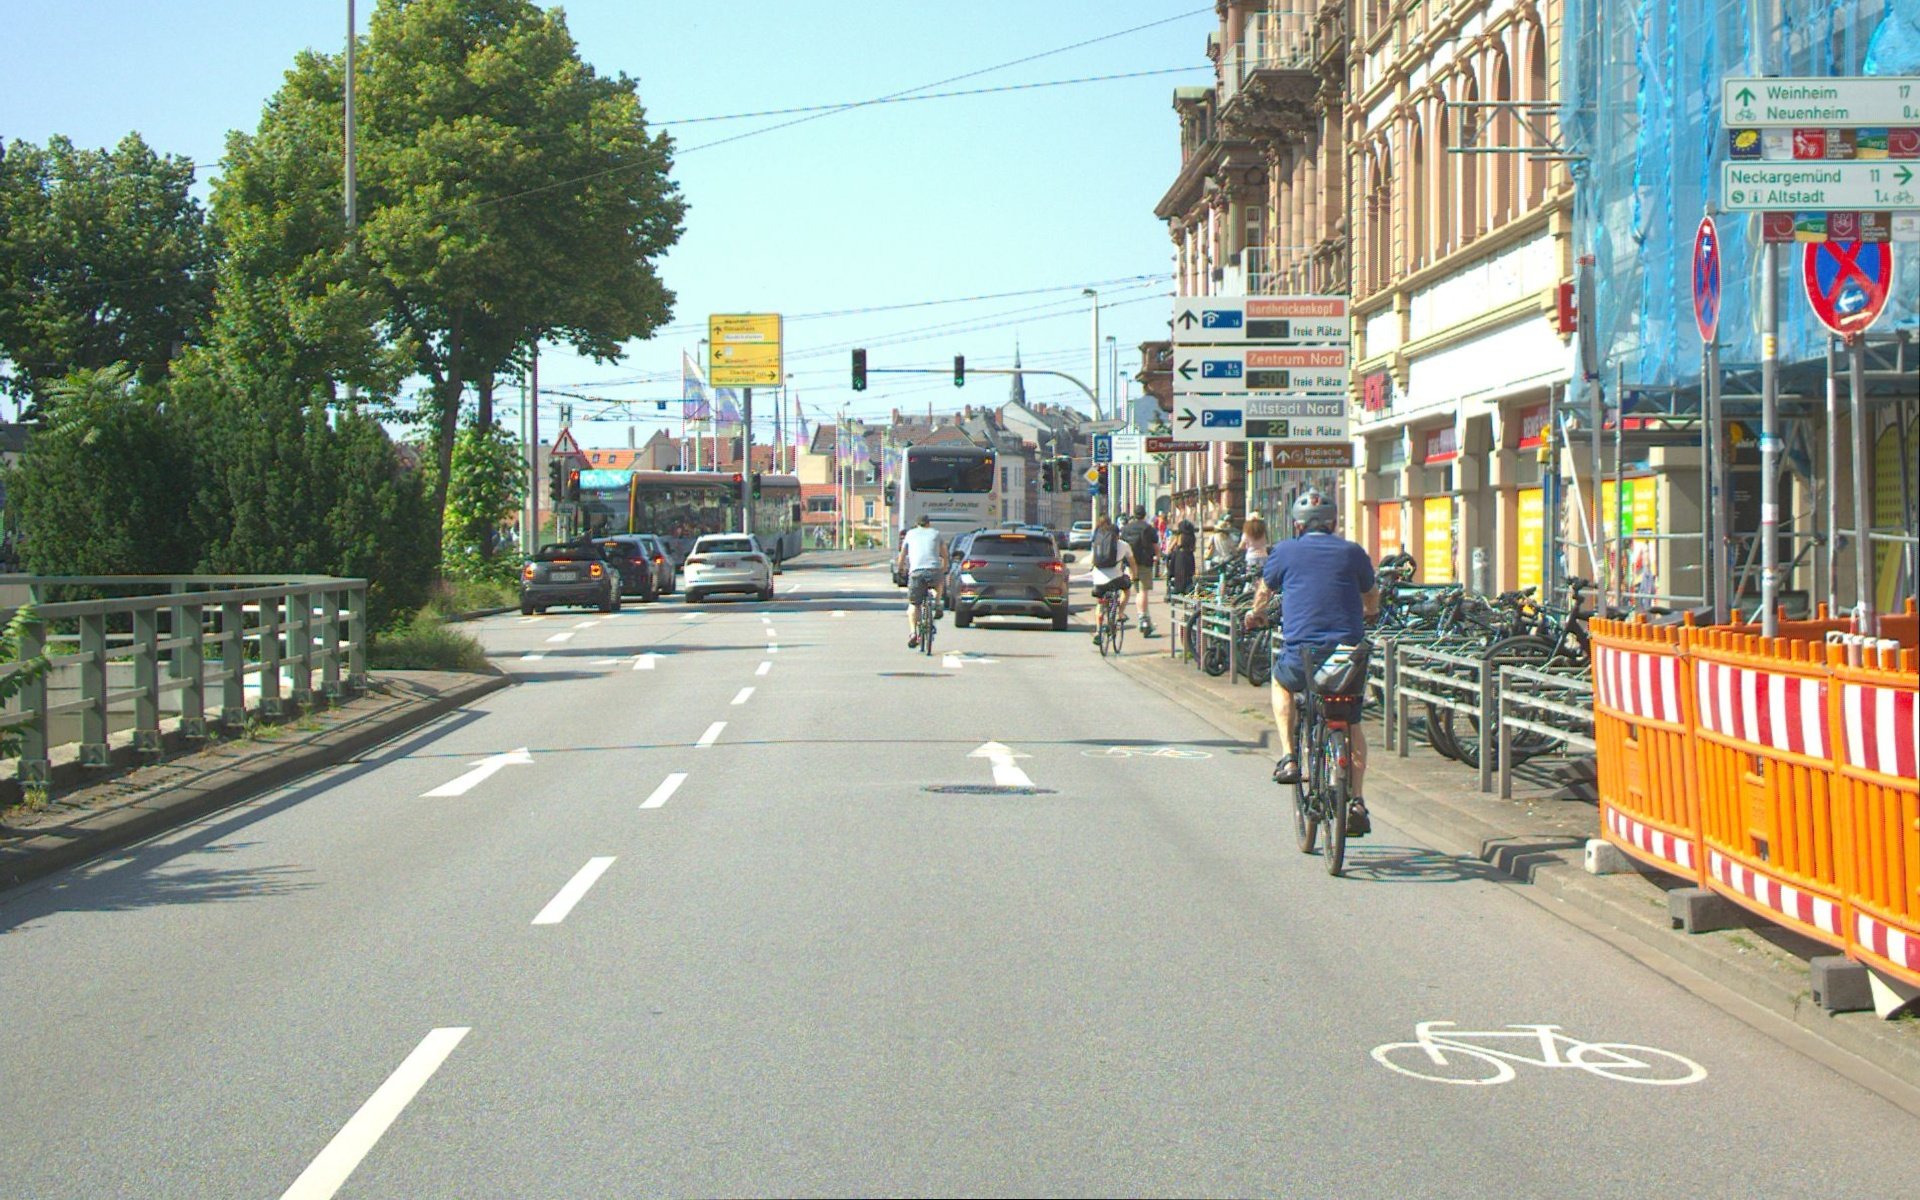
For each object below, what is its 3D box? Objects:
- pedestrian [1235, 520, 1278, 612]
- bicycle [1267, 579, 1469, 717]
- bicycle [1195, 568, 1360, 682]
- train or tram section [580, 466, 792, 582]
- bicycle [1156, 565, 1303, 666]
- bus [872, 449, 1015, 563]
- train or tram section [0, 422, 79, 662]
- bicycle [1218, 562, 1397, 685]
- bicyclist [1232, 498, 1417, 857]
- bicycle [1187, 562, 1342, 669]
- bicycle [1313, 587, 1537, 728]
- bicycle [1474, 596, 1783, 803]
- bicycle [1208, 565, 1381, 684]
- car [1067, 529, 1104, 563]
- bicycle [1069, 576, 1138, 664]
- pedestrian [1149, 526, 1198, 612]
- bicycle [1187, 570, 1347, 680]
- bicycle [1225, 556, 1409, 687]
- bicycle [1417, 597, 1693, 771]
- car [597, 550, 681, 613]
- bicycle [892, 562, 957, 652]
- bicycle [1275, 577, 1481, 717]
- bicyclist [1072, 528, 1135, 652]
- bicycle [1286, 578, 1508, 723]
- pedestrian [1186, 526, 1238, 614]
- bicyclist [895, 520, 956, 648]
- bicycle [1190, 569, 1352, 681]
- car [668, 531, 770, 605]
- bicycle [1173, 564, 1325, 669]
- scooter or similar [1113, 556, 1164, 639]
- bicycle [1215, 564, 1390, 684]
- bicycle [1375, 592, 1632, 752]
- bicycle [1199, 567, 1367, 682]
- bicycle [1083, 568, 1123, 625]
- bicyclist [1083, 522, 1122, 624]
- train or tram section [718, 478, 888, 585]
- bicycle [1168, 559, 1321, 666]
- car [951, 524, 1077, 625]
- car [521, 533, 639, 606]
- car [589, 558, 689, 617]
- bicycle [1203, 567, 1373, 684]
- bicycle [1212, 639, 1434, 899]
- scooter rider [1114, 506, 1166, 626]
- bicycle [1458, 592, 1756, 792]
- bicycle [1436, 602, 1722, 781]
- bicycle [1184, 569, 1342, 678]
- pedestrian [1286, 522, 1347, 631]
[{"bbox_3d":[5.247,-0.606,60.889,0.654,1.615,0.815,-1,1,-2],"label":"pedestrian"},{"bbox_3d":[3.615,0.417,30.512,1.693,1.174,0.608,1,0,0],"label":"bicycle"},{"bbox_3d":[3.389,0.263,36.781,1.693,1.174,0.514,1,0,0],"label":"bicycle"},{"bbox_3d":[-9.091,-2.480,115.711,2.826,3.569,10.020,2,0,22],"label":"train or tram section"},{"bbox_3d":[3.201,0.175,40.921,1.693,1.174,0.608,0,1,0],"label":"bicycle"},{"bbox_3d":[-0.511,-2.361,88.263,2.968,2.767,8.643,0,1,-5],"label":"bus"},{"bbox_3d":[-15.621,-0.904,52.474,2.613,3.569,6.898,2,0,-1],"label":"train or tram section"},{"bbox_3d":[3.436,0.230,34.043,1.693,1.174,0.497,1,0,0],"label":"bicycle"},{"bbox_3d":[1.698,0.350,16.126,0.688,1.611,0.918,2,0,-2],"label":"bicyclist"},{"bbox_3d":[3.457,0.171,39.040,1.693,1.174,0.470,1,0,-1],"label":"bicycle"},{"bbox_3d":[3.723,0.458,27.589,1.693,1.083,0.608,1,0,0],"label":"bicycle"},{"bbox_3d":[3.968,0.584,20.468,1.693,1.174,0.608,1,0,0],"label":"bicycle"},{"bbox_3d":[3.414,0.252,35.147,1.693,1.174,0.451,1,0,0],"label":"bicycle"},{"bbox_3d":[7.074,-3.048,194.691,1.993,1.871,4.000,-1,1,1],"label":"car"},{"bbox_3d":[1.859,0.244,44.716,0.734,1.089,1.898,2,0,-2],"label":"bicycle"},{"bbox_3d":[4.131,-0.604,66.560,0.862,1.634,0.876,0,1,-2],"label":"pedestrian"},{"bbox_3d":[3.381,0.270,37.875,1.693,1.174,0.460,1,0,0],"label":"bicycle"},{"bbox_3d":[3.459,0.205,33.402,1.693,1.237,0.608,1,0,0],"label":"bicycle"},{"bbox_3d":[3.919,0.546,22.715,1.693,1.093,0.608,1,0,0],"label":"bicycle"},{"bbox_3d":[-7.115,-0.416,76.441,1.451,1.296,4.000,2,0,0],"label":"car"},{"bbox_3d":[-0.456,0.079,43.485,0.734,1.089,1.898,2,0,-2],"label":"bicycle"},{"bbox_3d":[3.619,0.402,29.837,1.693,1.174,0.608,1,0,0],"label":"bicycle"},{"bbox_3d":[1.865,-0.137,44.772,0.688,1.571,1.049,2,0,-2],"label":"bicyclist"},{"bbox_3d":[3.674,0.422,28.969,1.771,1.174,0.608,1,0,0],"label":"bicycle"},{"bbox_3d":[4.754,-0.570,64.879,0.862,1.634,0.876,0,1,-2],"label":"pedestrian"},{"bbox_3d":[-0.441,-0.205,43.447,0.688,1.571,1.049,2,0,-2],"label":"bicyclist"},{"bbox_3d":[3.377,0.264,37.337,1.693,1.174,0.459,1,0,0],"label":"bicycle"},{"bbox_3d":[-5.144,-0.684,73.811,1.858,1.502,4.000,2,0,0],"label":"car"},{"bbox_3d":[3.327,0.182,39.635,1.693,1.174,0.608,-1,1,0],"label":"bicycle"},{"bbox_3d":[2.610,-0.041,50.380,0.688,1.163,1.464,2,0,2],"label":"scooter or similar"},{"bbox_3d":[3.442,0.238,34.614,1.693,1.174,0.491,1,0,0],"label":"bicycle"},{"bbox_3d":[3.918,0.511,24.875,1.739,1.105,0.608,1,0,0],"label":"bicycle"},{"bbox_3d":[3.397,0.255,36.213,1.693,1.174,0.457,1,0,0],"label":"bicycle"},{"bbox_3d":[2.791,-0.074,67.325,0.734,1.089,1.898,2,0,2],"label":"bicycle"},{"bbox_3d":[2.785,-0.529,67.372,0.688,1.955,0.778,2,0,2],"label":"bicyclist"},{"bbox_3d":[-5.581,-2.423,124.147,2.826,3.569,8.216,2,0,22],"label":"train or tram section"},{"bbox_3d":[3.326,0.141,40.289,1.693,1.174,0.608,-2,1,0],"label":"bicycle"},{"bbox_3d":[0.824,-0.411,54.675,1.873,1.487,4.000,2,0,0],"label":"car"},{"bbox_3d":[-7.396,-0.588,67.232,1.815,1.328,4.000,2,0,0],"label":"car"},{"bbox_3d":[-7.789,-0.305,83.736,2.037,1.328,4.000,2,0,0],"label":"car"},{"bbox_3d":[3.396,0.260,35.671,1.693,1.174,0.463,1,0,0],"label":"bicycle"},{"bbox_3d":[1.681,0.761,16.202,0.734,1.089,1.911,2,0,-2],"label":"bicycle"},{"bbox_3d":[2.642,-0.496,50.415,0.688,1.723,0.778,2,0,2],"label":"scooter rider"},{"bbox_3d":[3.975,0.560,21.183,1.693,1.174,0.608,1,0,0],"label":"bicycle"},{"bbox_3d":[3.948,0.579,21.998,1.693,1.094,0.608,1,0,0],"label":"bicycle"},{"bbox_3d":[3.383,0.263,38.440,1.693,1.174,0.470,1,0,-1],"label":"bicycle"},{"bbox_3d":[5.552,-0.363,53.595,0.755,1.650,0.837,-3,0,-2],"label":"pedestrian"}]
